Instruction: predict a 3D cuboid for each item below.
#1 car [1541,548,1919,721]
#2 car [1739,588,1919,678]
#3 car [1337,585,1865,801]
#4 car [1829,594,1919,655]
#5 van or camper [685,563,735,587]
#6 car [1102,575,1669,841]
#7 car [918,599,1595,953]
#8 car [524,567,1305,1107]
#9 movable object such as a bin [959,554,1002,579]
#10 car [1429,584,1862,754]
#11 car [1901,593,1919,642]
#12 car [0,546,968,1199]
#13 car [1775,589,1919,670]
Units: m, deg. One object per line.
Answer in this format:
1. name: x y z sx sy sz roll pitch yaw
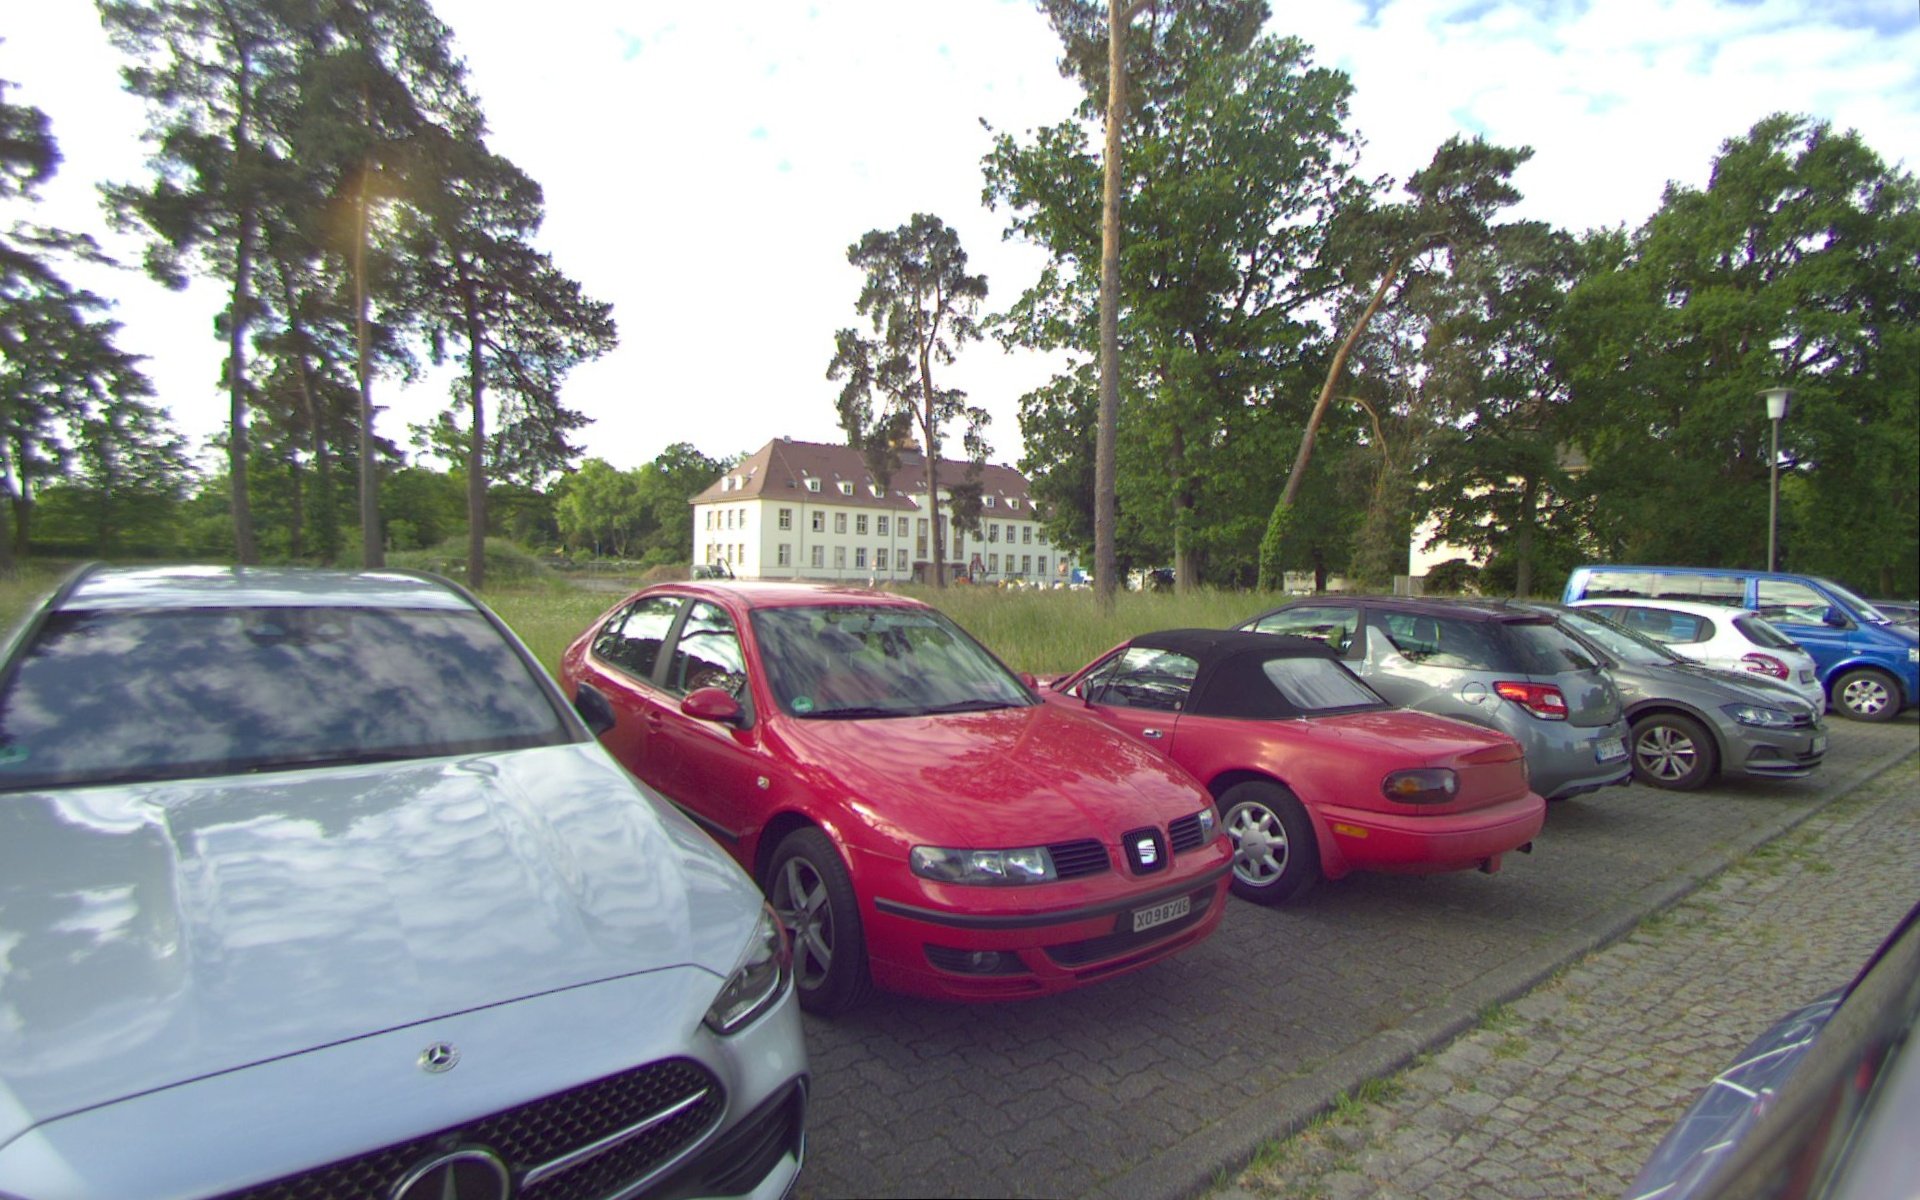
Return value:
1. car: 11.697 0.367 14.929 2.023 2.047 4.957 1 4 -38
2. car: 18.229 0.640 20.347 1.554 1.621 3.833 1 2 -43
3. car: 5.666 0.656 9.366 1.612 1.483 3.783 0 2 -37
4. car: 25.898 0.669 27.090 1.554 1.544 3.833 0 2 -43
5. van or camper: -25.186 -2.512 101.772 6.065 2.250 1.968 3 2 44
6. car: 3.095 0.612 8.023 1.576 1.522 3.837 0 2 -39
7. car: 1.439 0.723 5.963 1.578 1.303 3.556 2 1 -38
8. car: -0.644 0.598 4.913 1.688 1.440 4.118 0 2 -38
9. movable object such as a bin: 2.376 -3.859 117.456 5.119 2.802 1.995 0 2 -45
10. car: 7.587 0.632 11.530 1.552 1.517 3.764 1 2 -37
11. car: 33.888 0.647 33.423 1.551 1.638 3.842 1 2 -34
12. car: -2.053 0.599 3.227 1.736 1.446 4.335 0 2 -40
13. car: 20.380 0.640 22.251 1.554 1.621 3.629 1 2 -43
